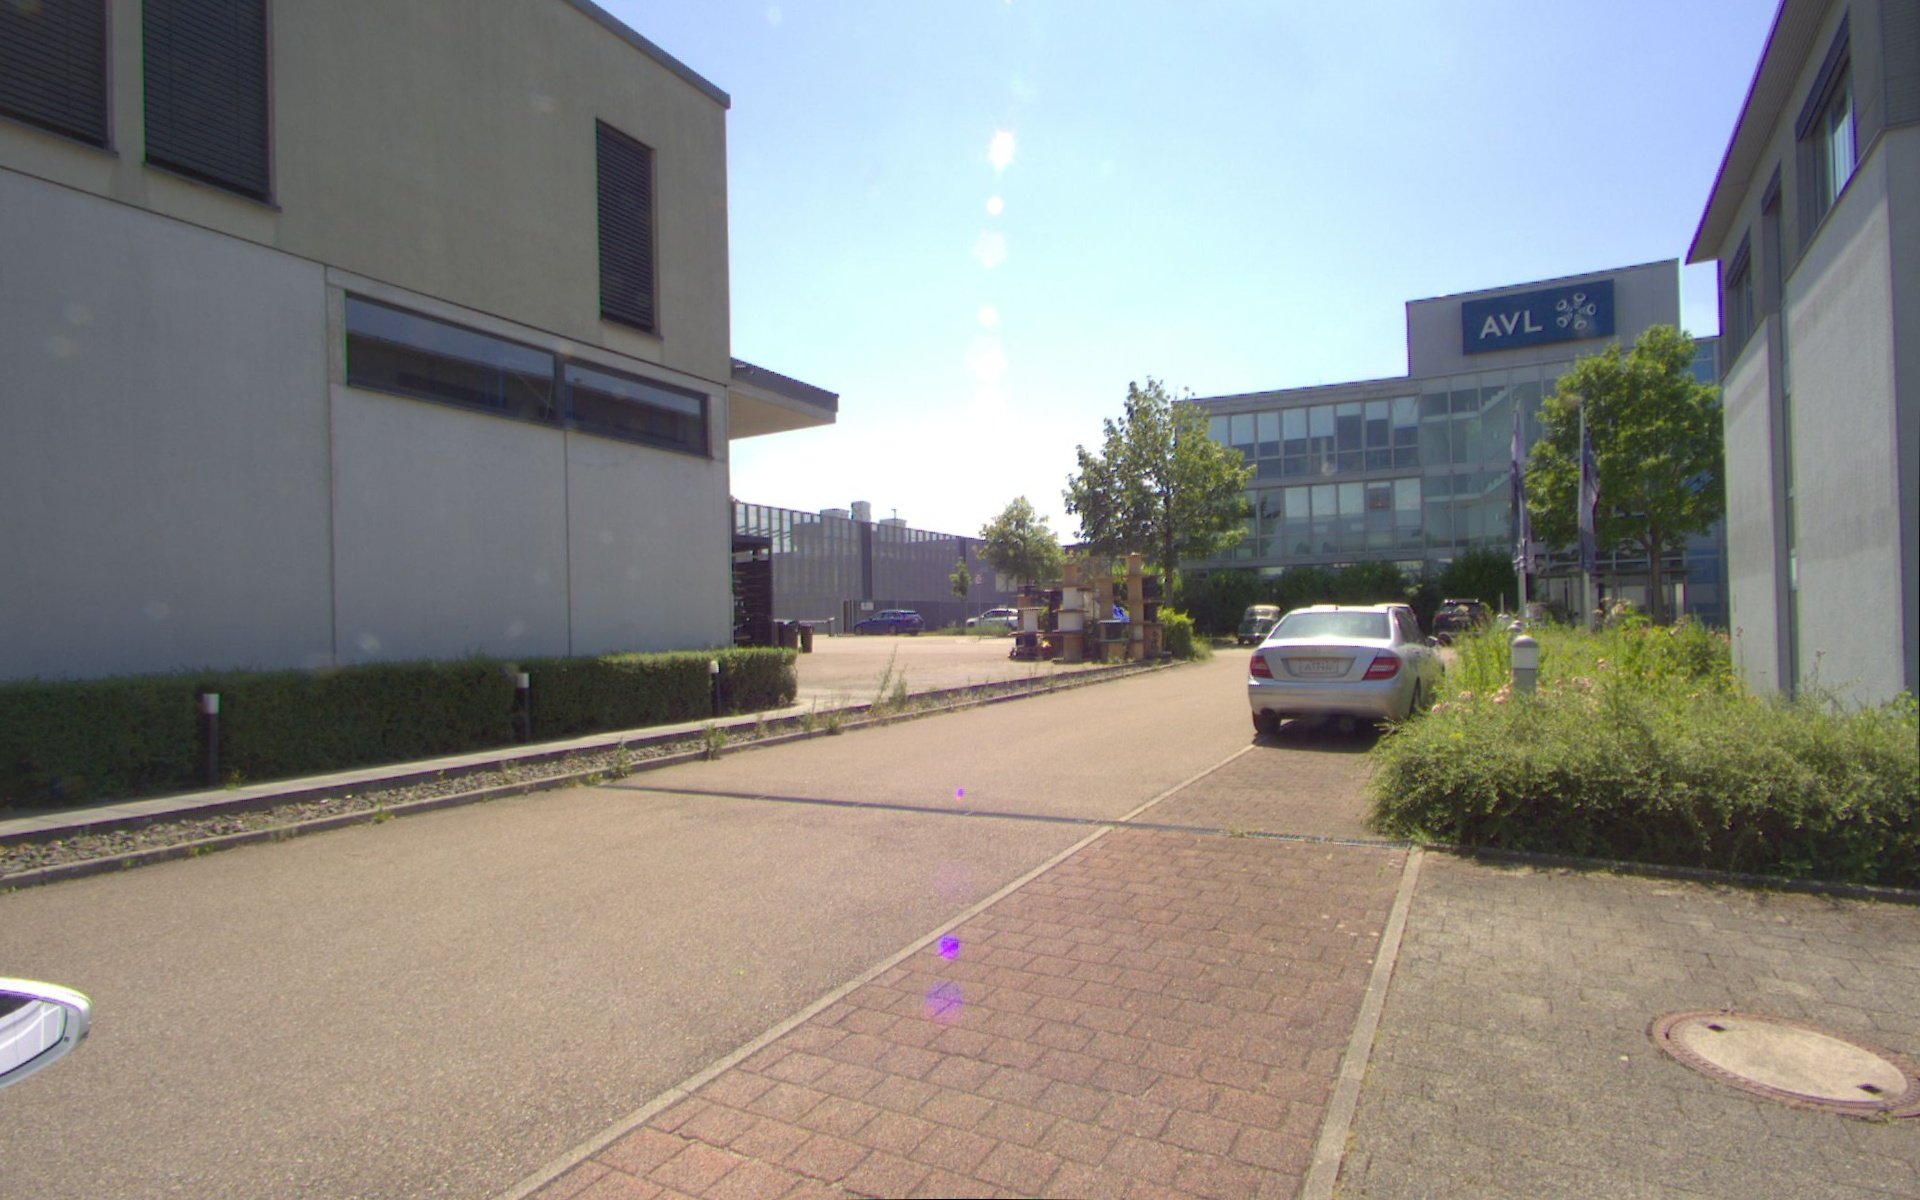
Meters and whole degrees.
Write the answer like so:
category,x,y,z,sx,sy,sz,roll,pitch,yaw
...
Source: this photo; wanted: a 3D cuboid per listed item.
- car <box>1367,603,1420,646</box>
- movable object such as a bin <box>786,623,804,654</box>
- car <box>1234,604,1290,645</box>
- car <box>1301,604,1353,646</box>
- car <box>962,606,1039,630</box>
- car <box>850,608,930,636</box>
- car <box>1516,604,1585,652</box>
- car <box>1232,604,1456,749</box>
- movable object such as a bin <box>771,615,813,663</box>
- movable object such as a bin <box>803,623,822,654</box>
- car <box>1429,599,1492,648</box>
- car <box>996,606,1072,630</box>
category,x,y,z,sx,sy,sz,roll,pitch,yaw
car,16.113,0.881,37.331,1.741,1.468,3.643,0,0,23
movable object such as a bin,-5.544,1.293,33.686,0.570,1.041,0.425,-1,0,-5
car,11.682,0.902,38.614,1.522,1.468,3.640,0,0,26
car,13.839,0.898,37.657,1.708,1.468,3.643,0,0,22
car,2.563,1.139,64.210,4.801,1.511,1.982,-1,0,43
car,-3.980,1.233,56.670,4.465,1.511,1.982,-1,0,43
car,20.367,0.937,34.681,1.748,1.501,4.242,-1,0,27
car,4.831,0.803,12.194,1.779,1.416,4.398,-1,-1,31
movable object such as a bin,-4.831,1.119,28.874,0.802,1.362,0.879,-1,-1,34
movable object such as a bin,-4.968,1.289,33.735,0.567,1.050,0.425,-1,0,-5
car,17.856,0.774,35.718,1.903,1.632,3.971,0,0,27
car,4.867,1.168,66.207,4.801,1.511,1.982,-1,0,43
